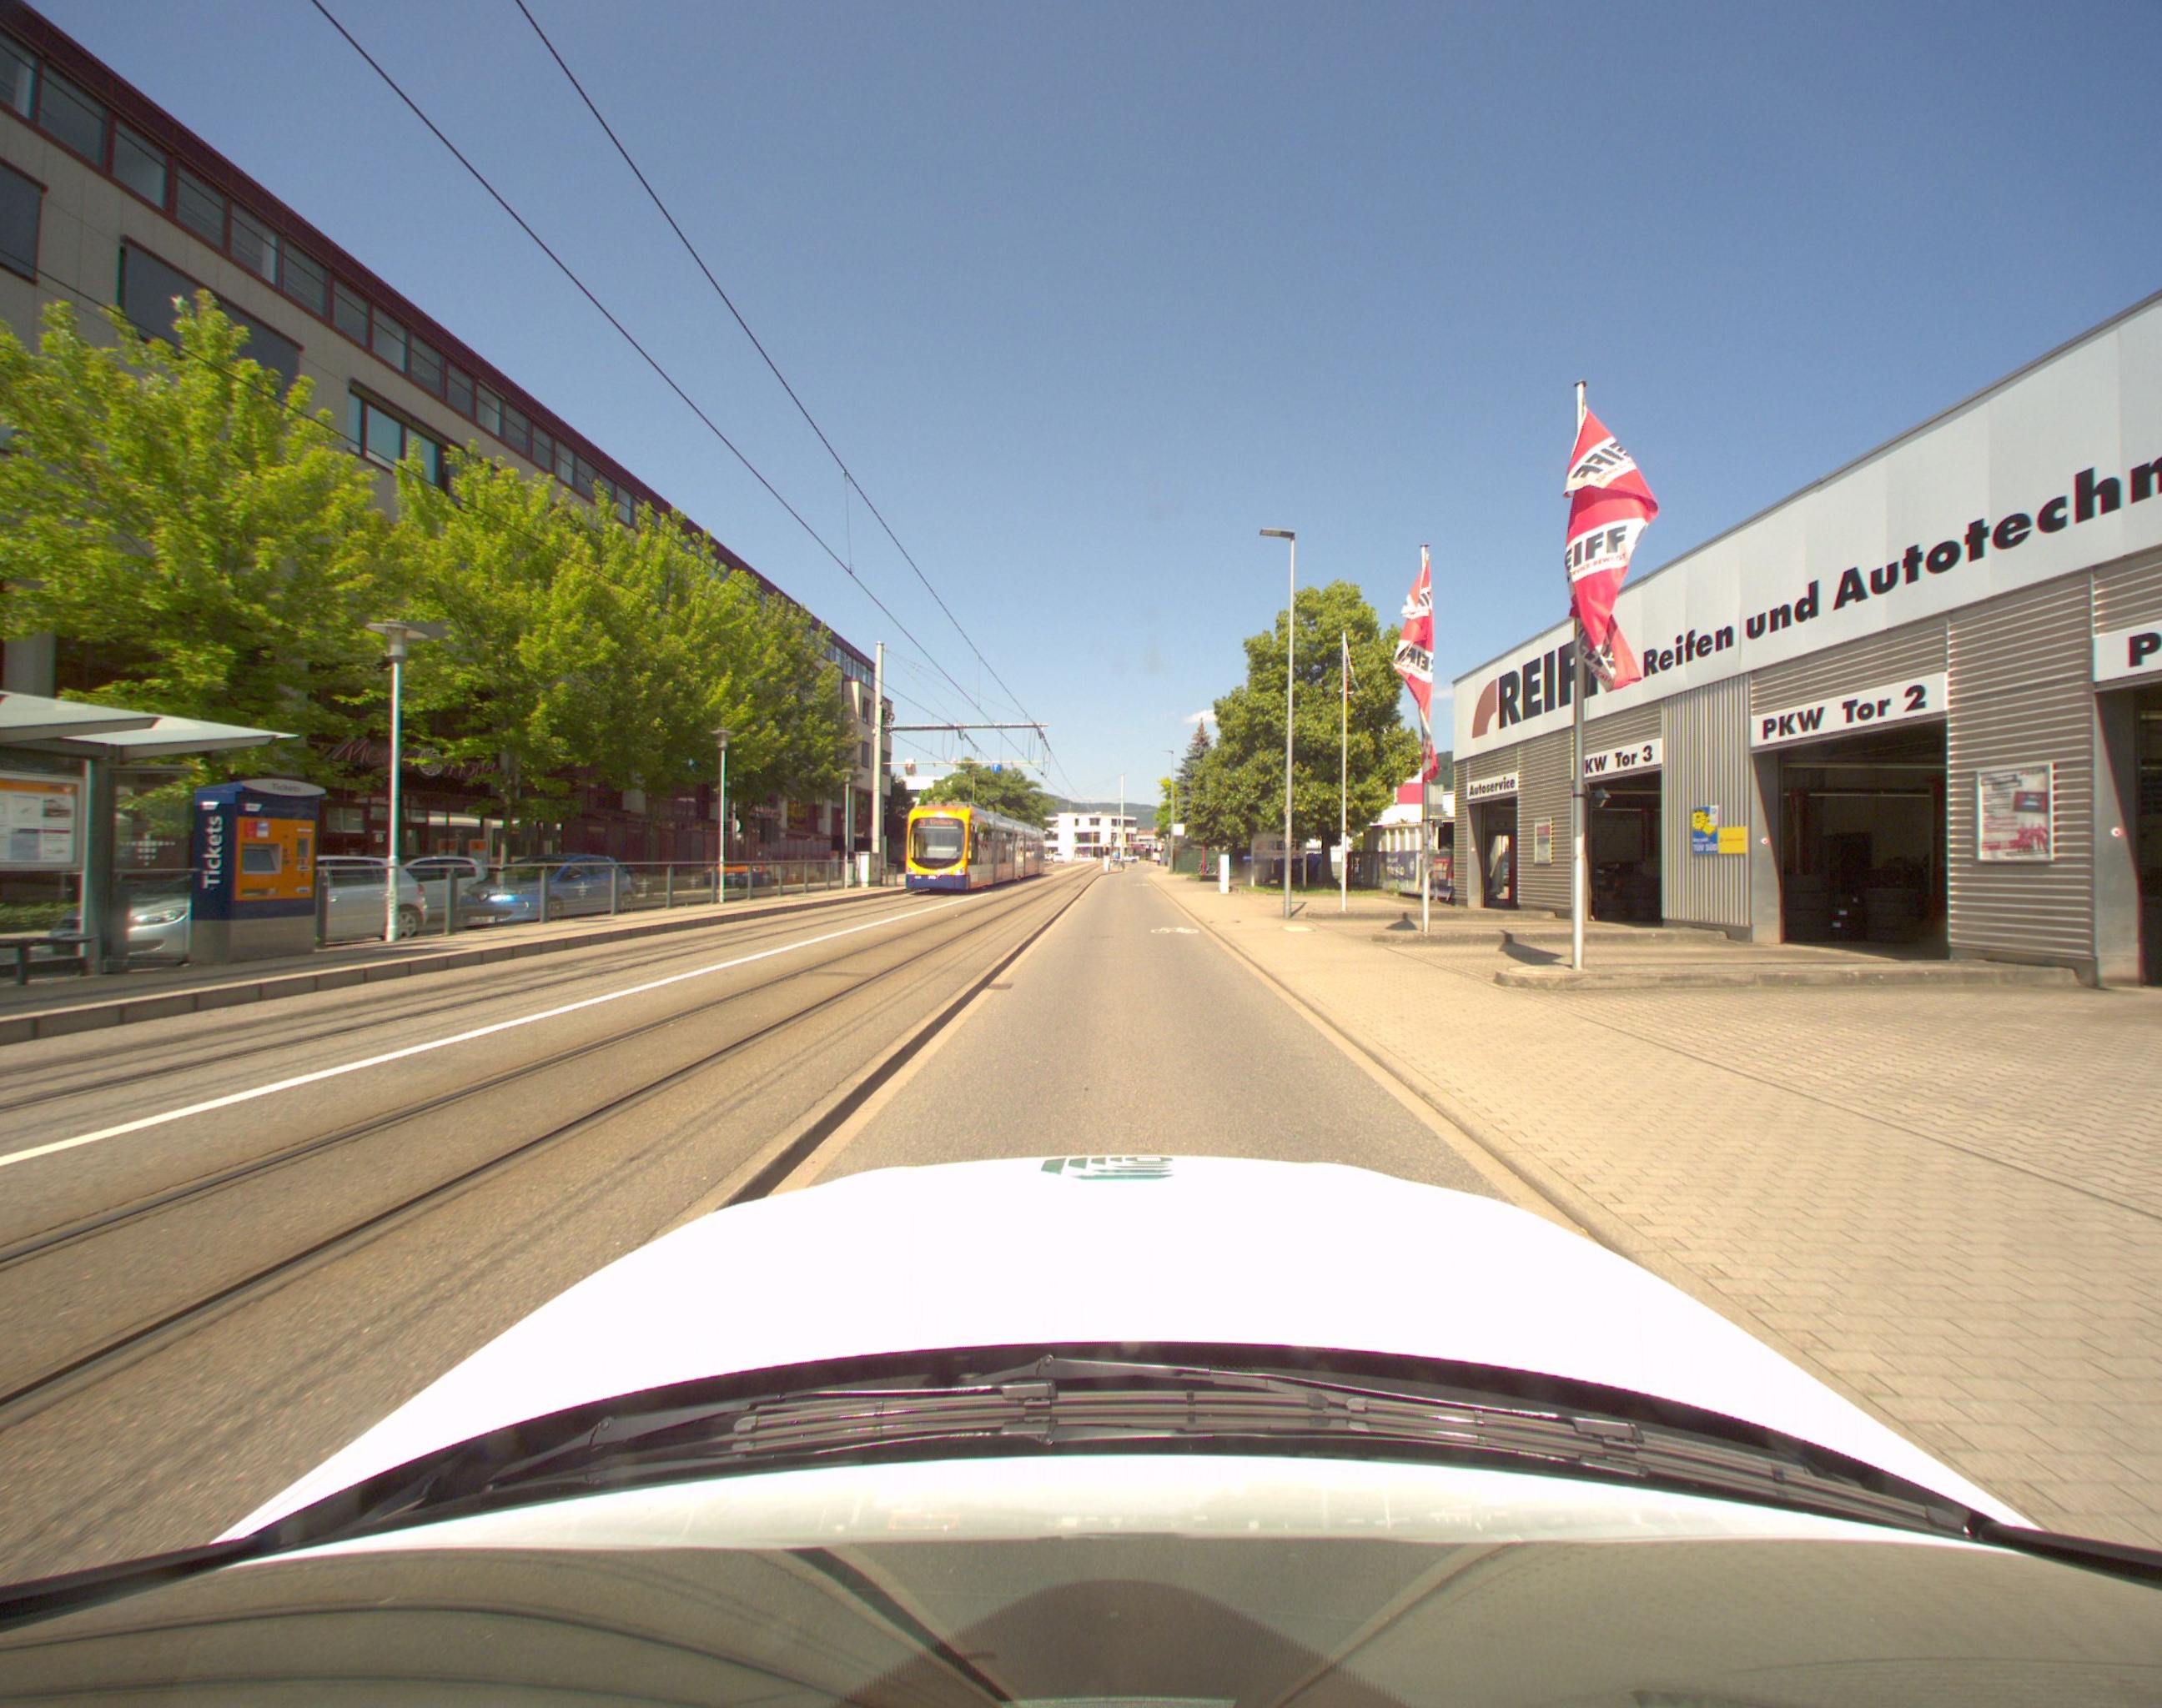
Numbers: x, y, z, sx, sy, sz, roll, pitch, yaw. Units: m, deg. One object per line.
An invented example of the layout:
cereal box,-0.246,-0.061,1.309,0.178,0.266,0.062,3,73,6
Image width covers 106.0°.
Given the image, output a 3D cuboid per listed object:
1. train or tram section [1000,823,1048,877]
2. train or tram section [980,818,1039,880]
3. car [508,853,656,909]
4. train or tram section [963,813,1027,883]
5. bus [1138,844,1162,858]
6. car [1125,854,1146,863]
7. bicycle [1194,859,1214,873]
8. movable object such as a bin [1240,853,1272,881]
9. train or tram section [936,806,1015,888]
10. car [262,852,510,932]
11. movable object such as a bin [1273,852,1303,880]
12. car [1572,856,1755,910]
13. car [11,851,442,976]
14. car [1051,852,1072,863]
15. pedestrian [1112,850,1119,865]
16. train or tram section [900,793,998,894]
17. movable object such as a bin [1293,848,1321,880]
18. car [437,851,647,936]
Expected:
train or tram section,-3.776,-0.265,55.386,2.570,3.447,6.366,0,0,2
train or tram section,-4.129,-0.255,48.618,2.570,3.447,7.141,0,0,2
car,-14.771,0.740,24.411,1.753,1.519,4.004,1,0,4
train or tram section,-4.415,-0.268,42.547,2.601,3.447,5.013,0,0,2
bus,14.364,-0.566,169.245,2.438,2.880,8.754,1,0,-12
car,10.514,0.912,157.493,3.970,1.750,1.777,1,0,3
bicycle,9.091,0.899,60.254,1.465,0.990,0.388,0,-3,1
movable object such as a bin,9.153,0.665,42.606,1.371,1.430,0.996,0,-2,27
train or tram section,-4.662,-0.295,37.120,2.601,3.447,5.847,0,0,2
car,-14.519,0.718,17.350,1.715,1.463,3.908,2,0,4
movable object such as a bin,10.684,0.618,41.955,1.304,1.430,0.890,0,-2,27
car,15.486,0.755,21.784,3.752,1.376,1.724,0,0,-2
car,-12.016,0.727,11.980,1.716,1.472,4.281,-1,0,2
car,-3.645,0.575,150.432,1.842,1.937,4.025,2,1,35
pedestrian,3.985,0.370,94.588,0.740,1.740,0.728,0,0,2
train or tram section,-4.907,-0.352,31.312,2.601,3.533,5.746,0,0,2
movable object such as a bin,11.157,0.497,40.276,0.975,1.547,1.320,1,-2,-1
car,-11.512,0.763,17.772,1.716,1.584,4.073,-2,0,2
